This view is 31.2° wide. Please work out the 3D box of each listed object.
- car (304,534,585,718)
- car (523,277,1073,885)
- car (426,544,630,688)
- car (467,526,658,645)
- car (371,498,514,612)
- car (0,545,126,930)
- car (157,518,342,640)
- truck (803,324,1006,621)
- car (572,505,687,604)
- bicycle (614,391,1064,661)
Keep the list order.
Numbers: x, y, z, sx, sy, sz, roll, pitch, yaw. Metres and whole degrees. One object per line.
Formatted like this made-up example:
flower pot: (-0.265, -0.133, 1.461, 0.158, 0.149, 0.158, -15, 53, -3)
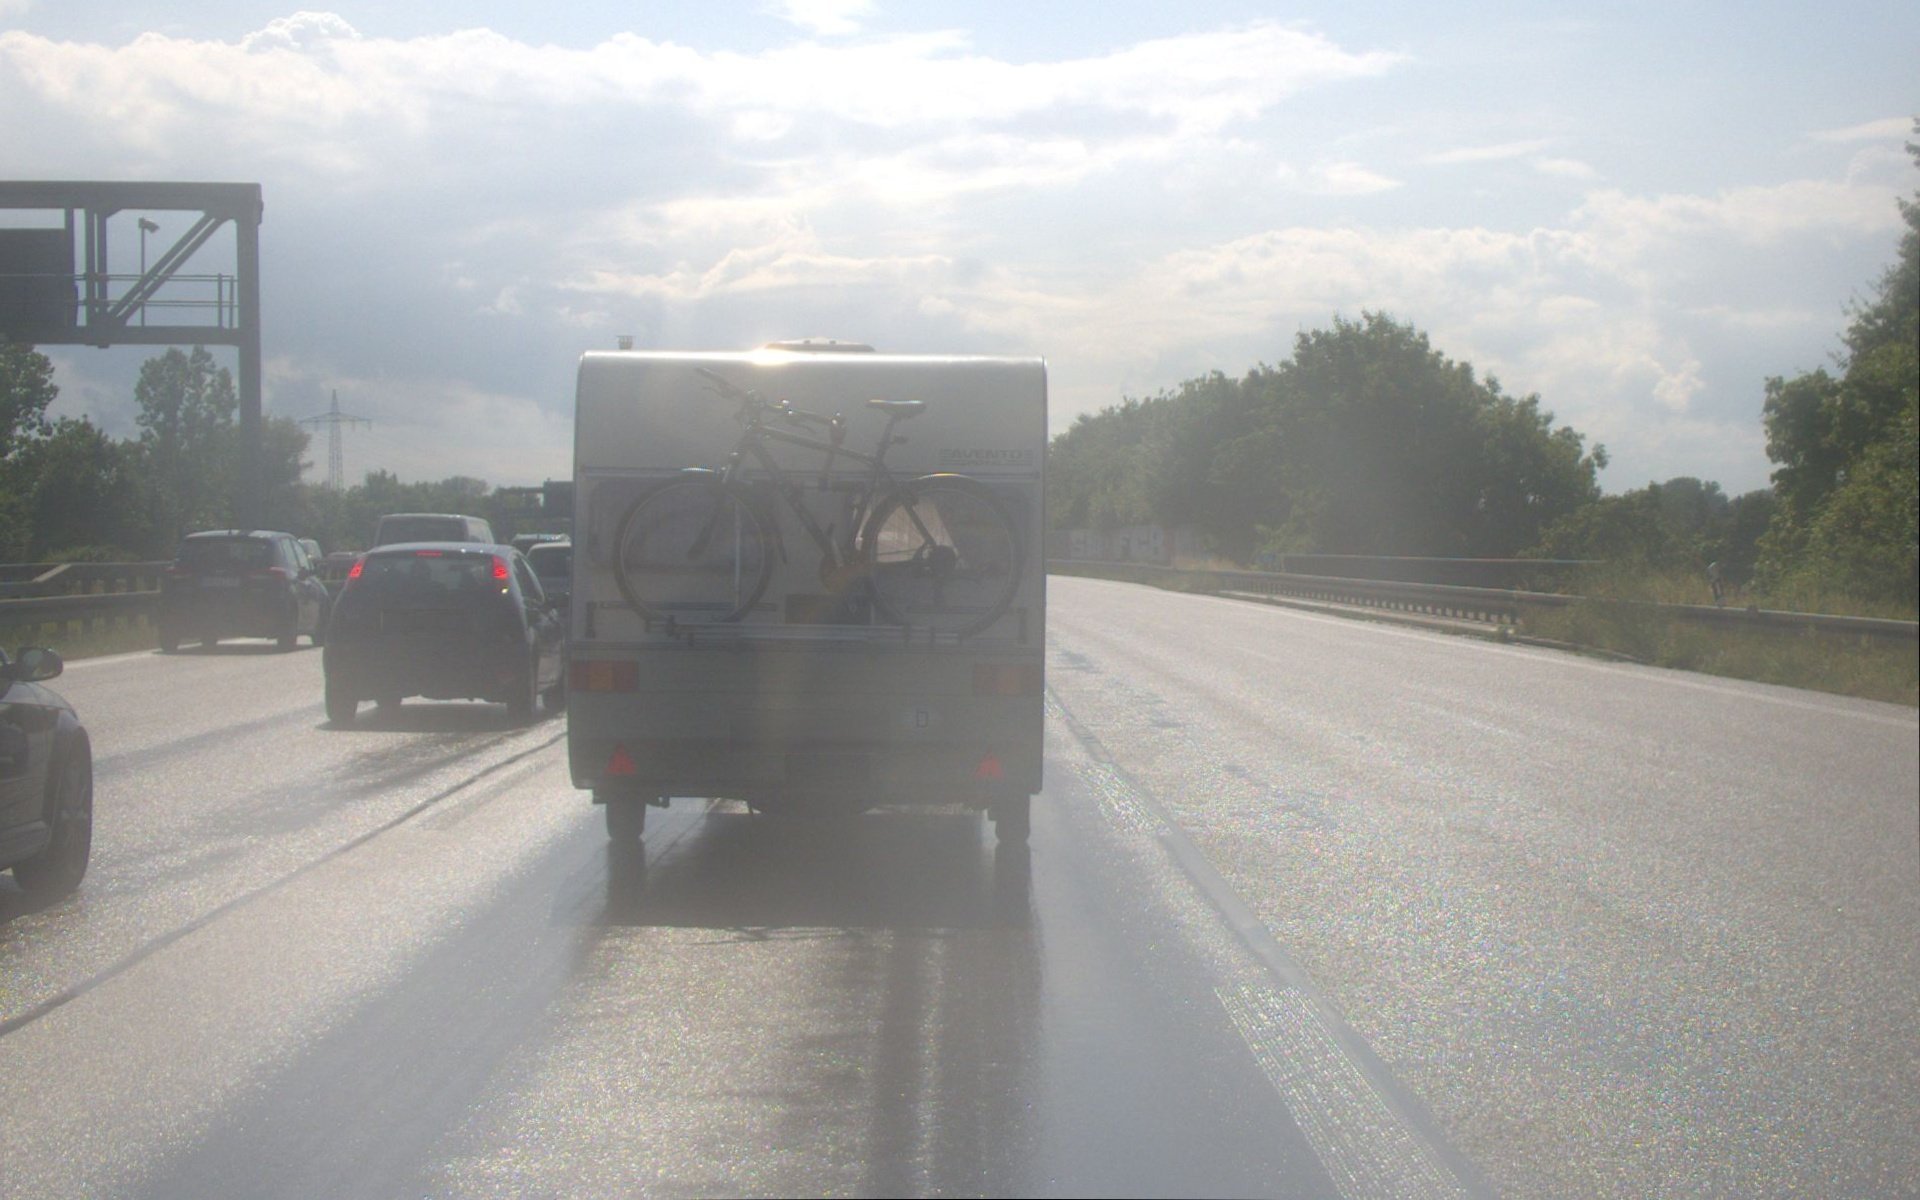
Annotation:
car: (-4.299, 0.170, 29.224, 1.758, 1.438, 4.000, 0, 1, 0)
car: (-0.707, -0.113, 17.237, 2.410, 2.665, 4.000, 1, 1, 0)
car: (-4.763, 0.139, 38.393, 1.863, 1.503, 4.000, 0, 1, -1)
car: (-5.077, -0.218, 44.360, 1.987, 1.453, 3.826, 0, 1, 0)
car: (-9.115, -0.817, 60.925, 1.848, 1.927, 5.017, 0, 1, -1)
car: (-4.460, 0.516, 12.823, 1.750, 1.428, 4.054, 0, 1, -1)
car: (-9.551, -0.313, 46.489, 1.783, 1.573, 3.916, 0, 1, -2)
truck: (-0.989, -2.086, 59.006, 3.146, 4.610, 10.737, 0, 1, -1)
car: (-5.709, -0.797, 59.745, 1.689, 1.656, 3.641, 0, 1, -1)
bicycle: (-0.520, -0.323, 15.028, 1.934, 1.137, 0.384, 1, 1, 1)
